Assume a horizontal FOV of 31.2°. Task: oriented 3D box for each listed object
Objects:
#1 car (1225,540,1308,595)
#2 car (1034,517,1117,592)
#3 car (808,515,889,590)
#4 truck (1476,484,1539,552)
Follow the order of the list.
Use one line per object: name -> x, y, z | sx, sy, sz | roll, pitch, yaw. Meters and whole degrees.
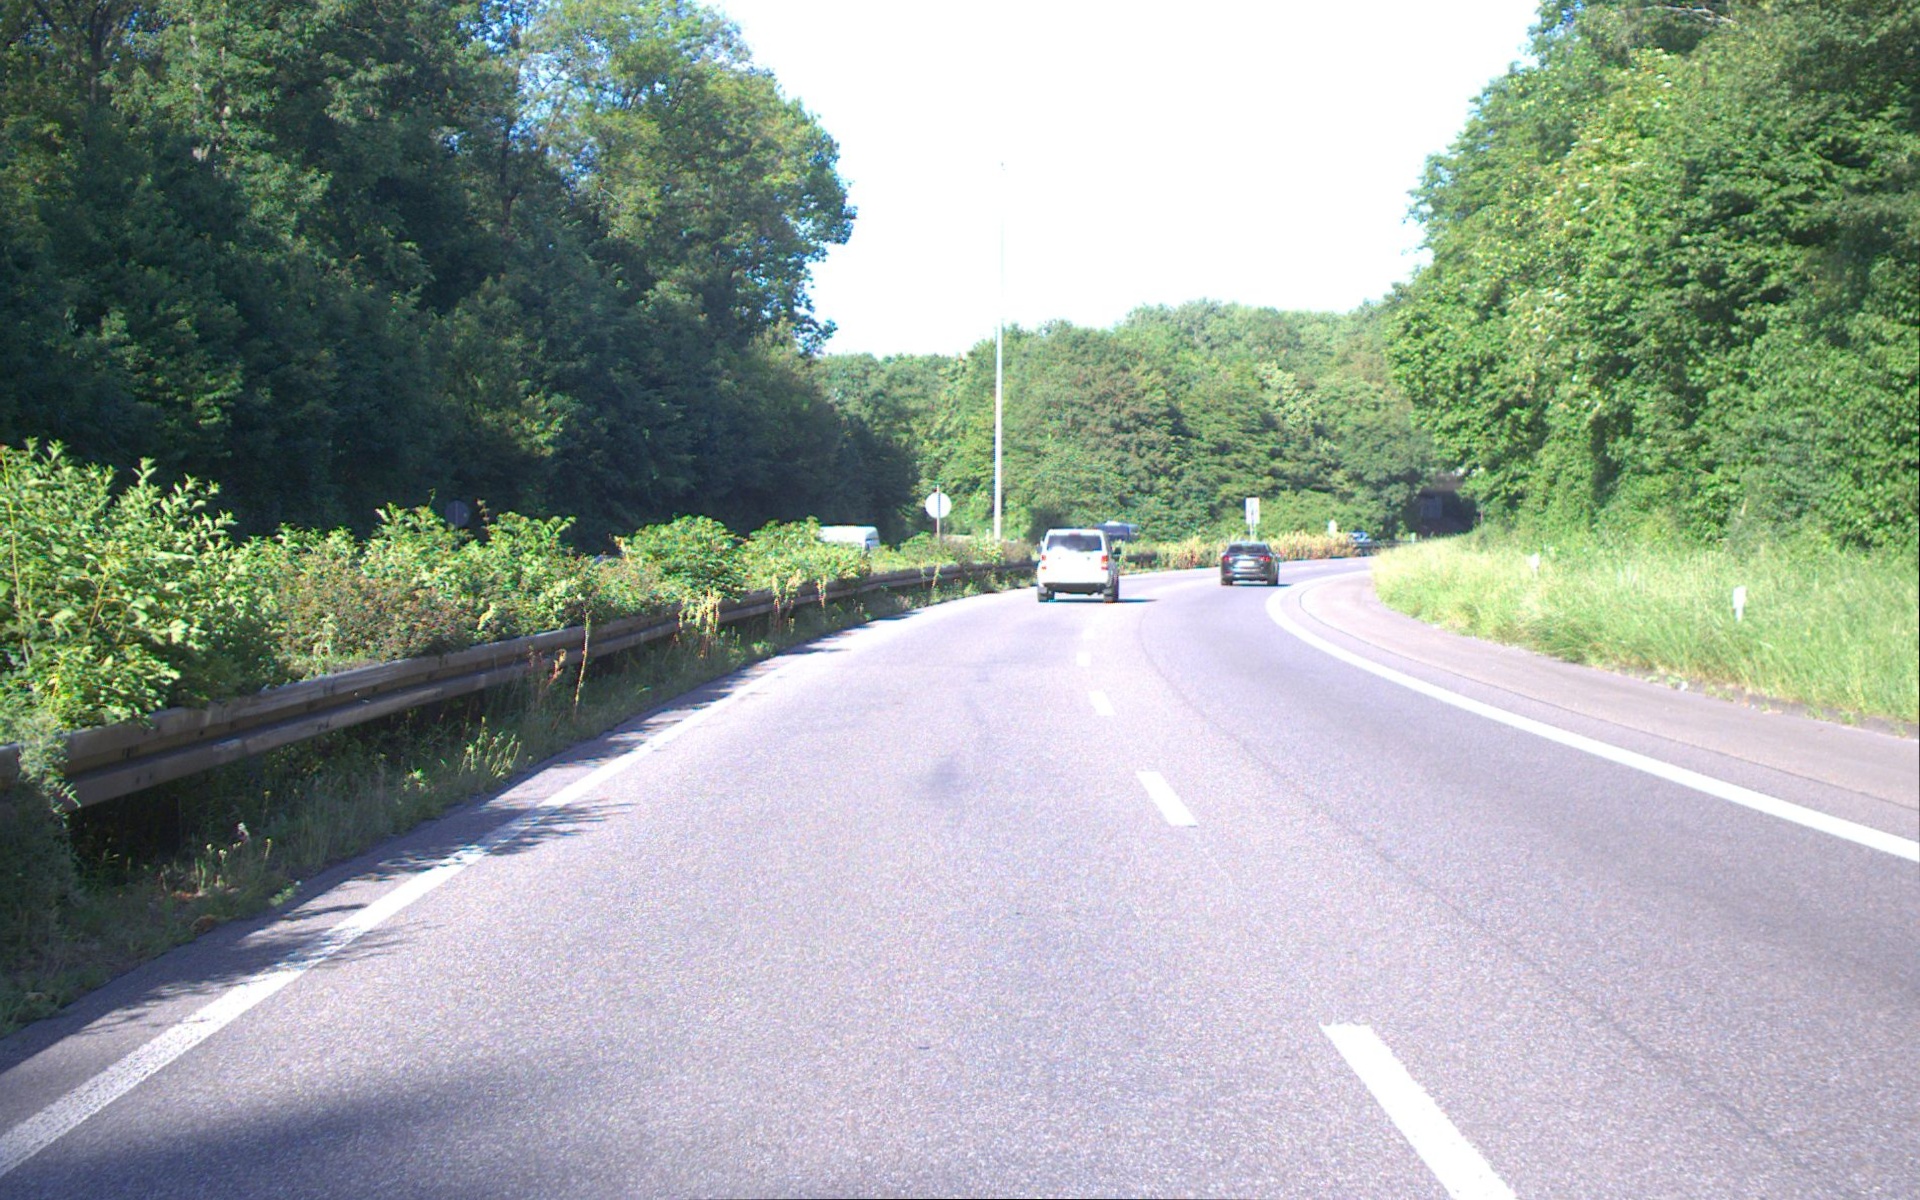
car -> 10.320, -1.099, 115.432 | 1.953, 1.776, 4.584 | 1, 1, 16
car -> 2.852, -1.113, 84.420 | 1.951, 1.776, 4.587 | 1, 1, 2
car -> -3.442, -1.459, 107.087 | 1.915, 2.245, 5.784 | 1, 1, 4
truck -> 36.171, -5.371, 226.834 | 3.736, 4.328, 9.300 | 1, 1, 11
